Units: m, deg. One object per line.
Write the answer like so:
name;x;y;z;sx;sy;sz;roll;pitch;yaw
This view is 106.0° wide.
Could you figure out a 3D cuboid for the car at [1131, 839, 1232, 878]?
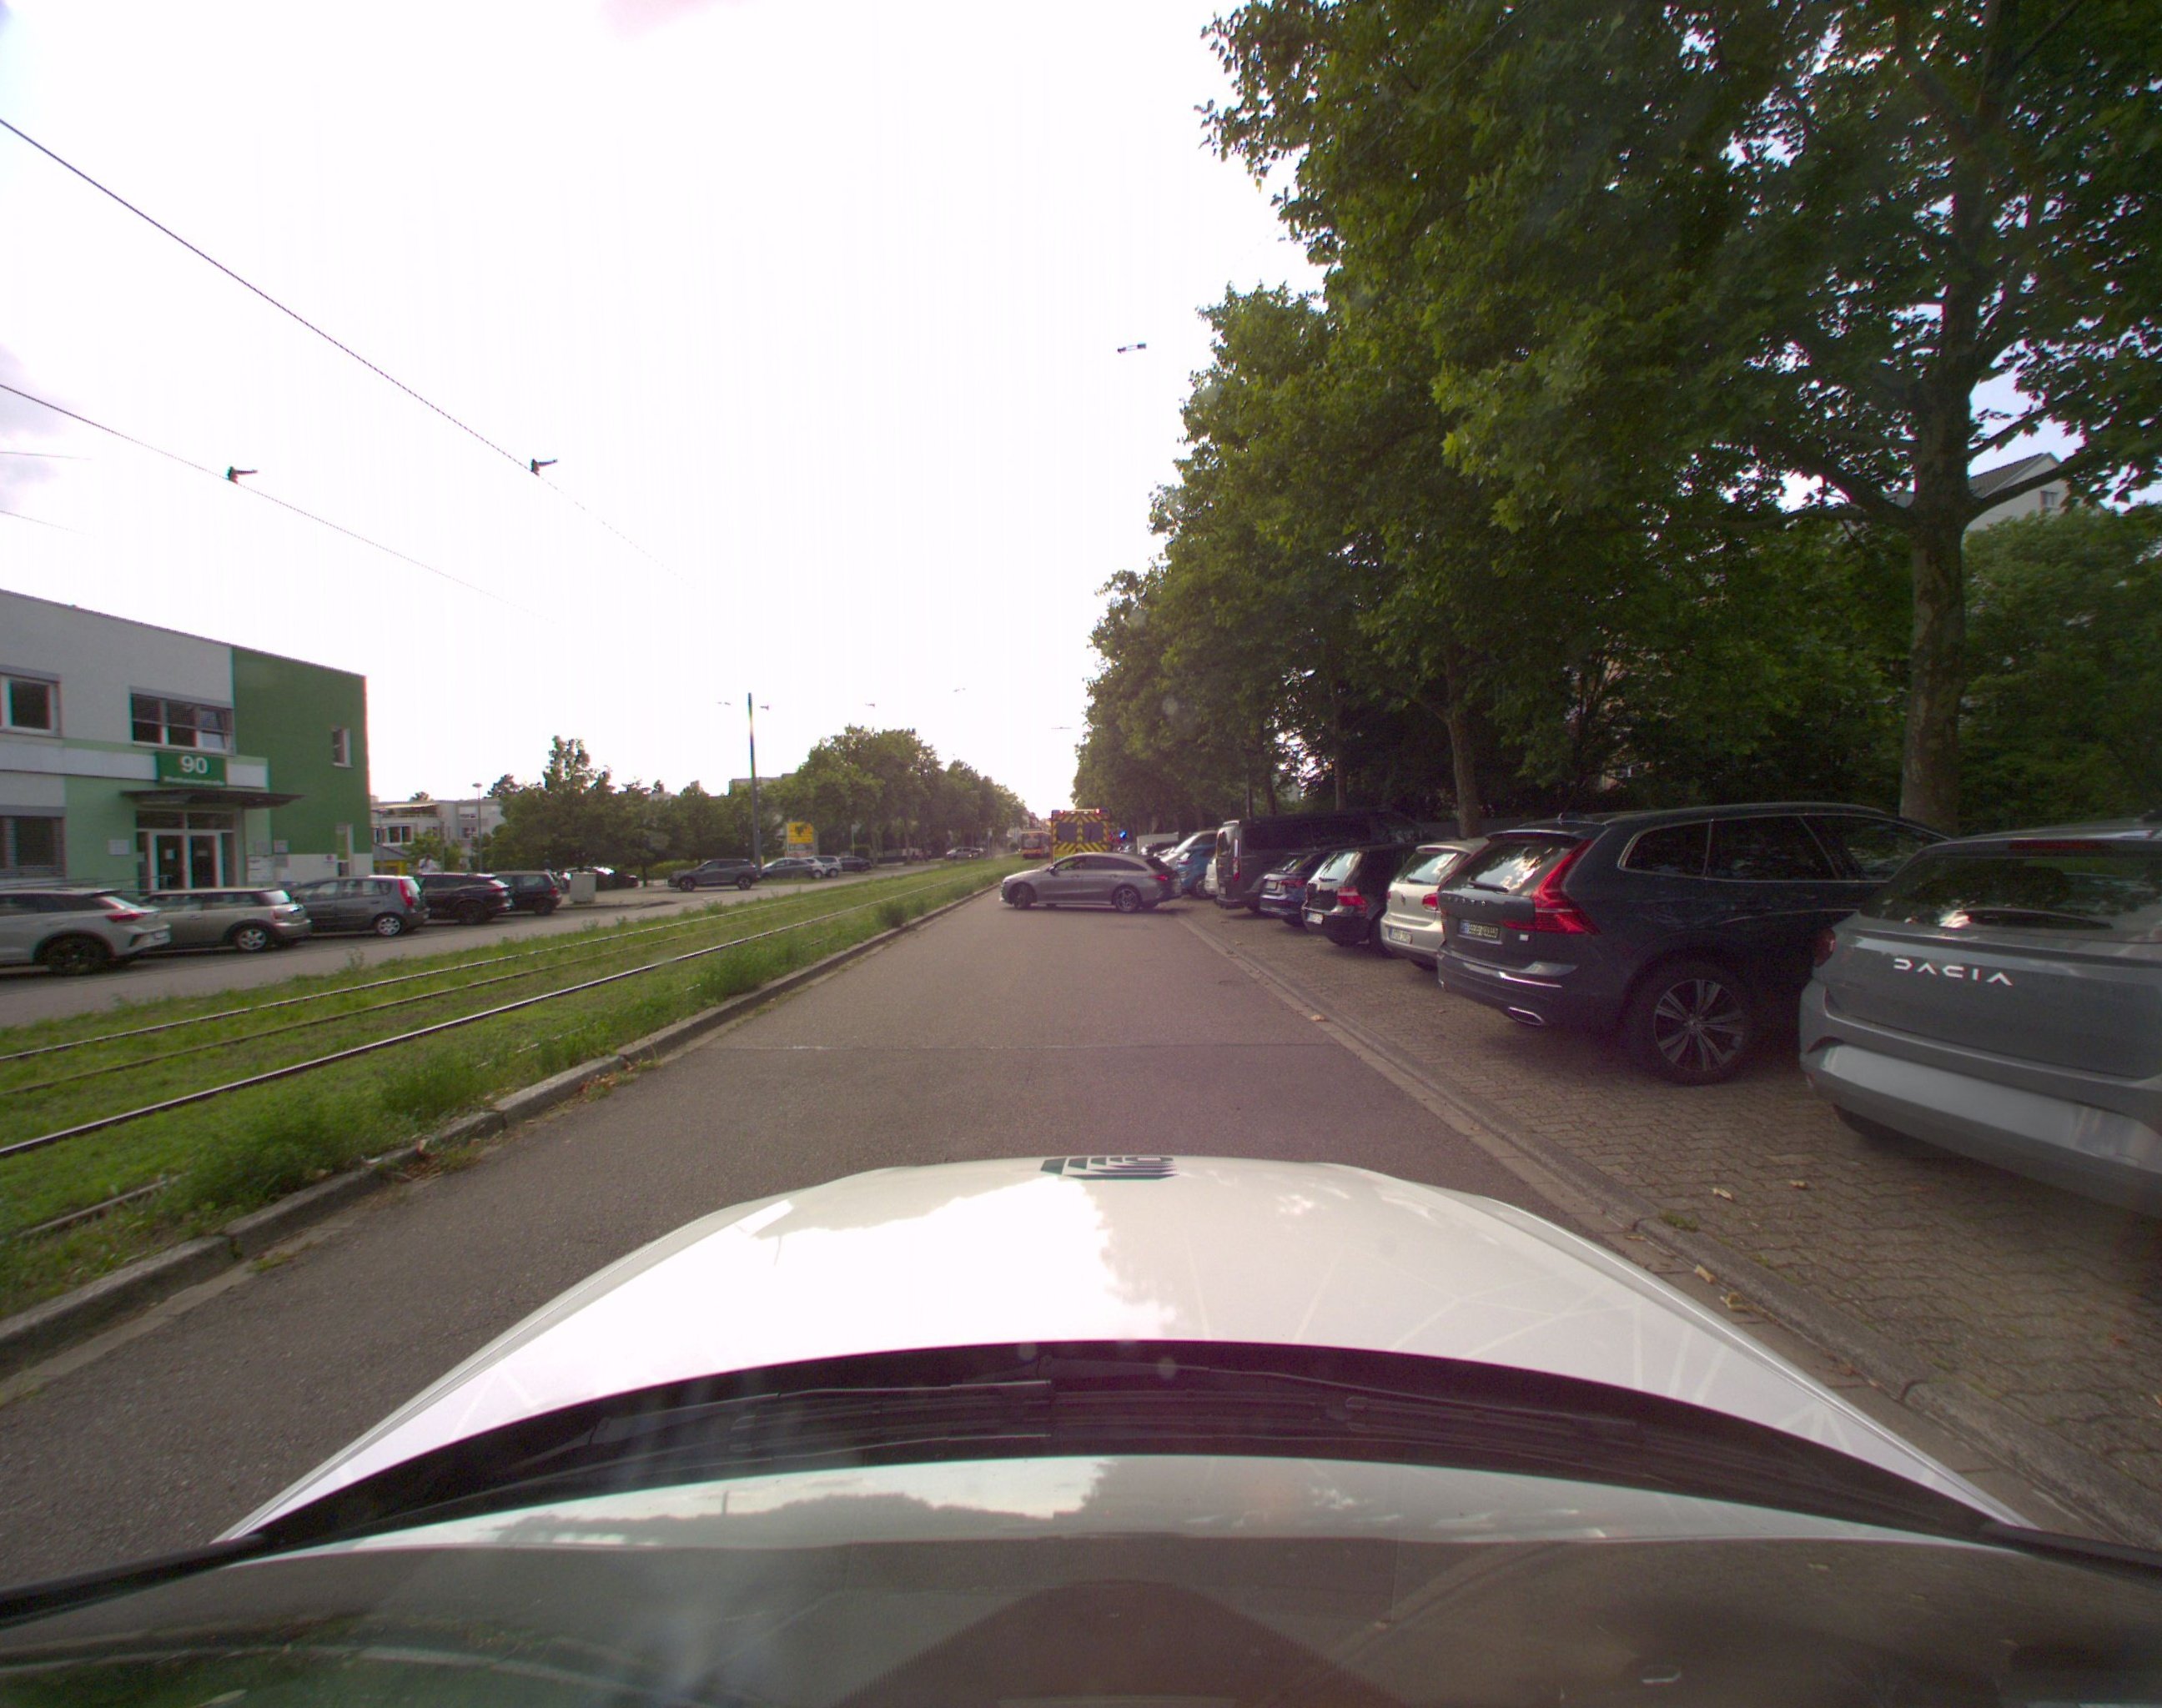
car;4.819;0.213;39.360;4.537;1.608;1.853;-3;0;-4

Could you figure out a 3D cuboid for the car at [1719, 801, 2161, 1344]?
car;5.215;0.507;2.949;4.364;1.501;1.757;-3;1;1

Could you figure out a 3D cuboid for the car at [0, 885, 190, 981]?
car;-19.142;1.439;14.361;4.252;1.482;1.863;-3;1;-34

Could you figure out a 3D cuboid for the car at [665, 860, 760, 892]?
car;-18.450;1.070;40.913;4.242;1.482;1.868;-1;0;-25

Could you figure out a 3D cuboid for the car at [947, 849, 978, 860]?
car;-18.874;0.108;129.710;4.651;1.633;1.861;-3;1;-39

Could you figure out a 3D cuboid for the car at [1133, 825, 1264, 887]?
car;4.356;0.071;30.729;4.537;2.043;1.853;-3;0;-4

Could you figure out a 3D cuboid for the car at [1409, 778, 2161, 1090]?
car;4.823;0.449;5.619;4.364;1.639;1.757;-3;0;1

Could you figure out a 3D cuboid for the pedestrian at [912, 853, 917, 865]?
pedestrian;-21.522;0.652;105.272;0.417;1.414;0.470;-2;0;25

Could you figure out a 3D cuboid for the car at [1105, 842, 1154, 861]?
car;4.658;-0.277;79.002;4.537;1.608;1.853;-3;0;-4

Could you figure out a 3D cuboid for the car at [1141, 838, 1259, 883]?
car;4.943;0.272;34.204;4.537;1.608;1.853;-3;0;-4

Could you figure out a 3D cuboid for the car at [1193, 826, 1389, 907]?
car;5.337;0.290;21.071;4.532;1.766;1.855;-3;0;-1

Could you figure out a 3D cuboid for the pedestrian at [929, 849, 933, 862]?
pedestrian;-22.186;0.236;120.154;0.465;1.828;0.422;-2;0;-2

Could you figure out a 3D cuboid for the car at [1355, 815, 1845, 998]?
car;5.139;0.475;8.462;3.954;1.494;1.755;-3;0;-1

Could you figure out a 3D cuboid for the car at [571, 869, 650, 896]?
car;-29.529;1.778;51.177;3.971;1.565;1.778;0;0;2

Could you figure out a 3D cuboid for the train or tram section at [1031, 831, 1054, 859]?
train or tram section;-5.229;-1.174;111.502;2.504;3.584;7.443;-3;0;0

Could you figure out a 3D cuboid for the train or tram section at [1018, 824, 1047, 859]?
train or tram section;-5.227;-1.298;89.185;2.504;3.584;7.443;-3;0;0

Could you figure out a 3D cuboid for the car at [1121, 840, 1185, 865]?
car;5.358;-0.122;60.921;4.537;1.608;1.853;-3;0;-4

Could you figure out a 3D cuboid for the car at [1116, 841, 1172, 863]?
car;5.467;-0.196;70.772;4.537;1.608;1.853;-3;0;-4

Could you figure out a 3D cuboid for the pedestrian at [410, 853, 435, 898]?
pedestrian;-27.504;0.882;34.028;0.544;1.828;0.508;-2;0;-2

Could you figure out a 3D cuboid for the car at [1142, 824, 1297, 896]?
car;4.384;0.167;26.135;4.537;2.000;1.853;-3;0;-4

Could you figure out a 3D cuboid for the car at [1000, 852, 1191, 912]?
car;0.364;0.643;20.344;4.414;1.385;1.776;0;0;22

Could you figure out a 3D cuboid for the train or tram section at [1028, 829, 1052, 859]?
train or tram section;-5.236;-1.215;104.060;2.504;3.584;7.443;-3;0;0

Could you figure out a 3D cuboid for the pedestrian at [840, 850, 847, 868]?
pedestrian;-23.575;0.497;81.003;0.465;1.676;0.603;-2;0;-2

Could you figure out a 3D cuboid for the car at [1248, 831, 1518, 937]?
car;5.056;0.477;14.018;3.954;1.494;1.755;-3;0;-1

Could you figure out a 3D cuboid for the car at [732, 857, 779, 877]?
car;-29.813;1.182;74.481;3.949;1.750;2.013;0;1;31

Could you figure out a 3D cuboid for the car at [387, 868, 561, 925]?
car;-19.471;1.319;26.396;4.247;1.482;1.866;-3;1;-29

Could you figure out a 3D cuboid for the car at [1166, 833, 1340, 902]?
car;4.904;0.360;23.602;4.538;1.660;1.853;-3;0;-5

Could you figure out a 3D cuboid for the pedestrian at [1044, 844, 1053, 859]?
pedestrian;-3.390;-0.241;85.017;0.878;1.525;0.751;0;-1;-1

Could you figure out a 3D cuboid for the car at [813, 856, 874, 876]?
car;-18.999;0.940;65.179;4.257;1.482;1.861;-1;0;-40

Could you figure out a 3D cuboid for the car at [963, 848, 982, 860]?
car;-15.215;0.017;114.392;1.988;1.557;4.368;-3;1;-1

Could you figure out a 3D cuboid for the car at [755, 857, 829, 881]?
car;-19.146;0.956;53.954;4.254;1.482;1.863;-1;0;-36

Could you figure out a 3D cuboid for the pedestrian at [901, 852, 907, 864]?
pedestrian;-24.098;0.525;110.900;0.631;1.551;0.621;-2;0;-3

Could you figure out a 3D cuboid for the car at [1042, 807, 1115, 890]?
car;0.003;-0.222;32.730;2.631;2.966;6.302;1;0;2

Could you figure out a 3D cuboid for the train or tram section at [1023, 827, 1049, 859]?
train or tram section;-5.236;-1.257;96.616;2.504;3.584;7.443;-3;0;0

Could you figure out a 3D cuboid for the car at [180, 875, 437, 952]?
car;-19.014;1.409;20.352;4.247;1.482;1.866;-3;1;-29

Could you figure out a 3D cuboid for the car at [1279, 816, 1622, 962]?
car;4.976;0.415;11.186;3.967;1.605;1.750;-3;0;-11

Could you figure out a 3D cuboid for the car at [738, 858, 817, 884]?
car;-19.000;1.019;51.047;4.254;1.482;1.863;-1;0;-36

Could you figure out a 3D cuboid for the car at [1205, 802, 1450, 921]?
car;5.055;0.142;17.155;4.532;2.123;1.855;-3;0;-1

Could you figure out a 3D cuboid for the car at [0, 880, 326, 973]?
car;-19.234;1.441;17.339;4.247;1.482;1.866;-3;1;-29

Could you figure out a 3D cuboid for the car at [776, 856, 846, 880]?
car;-18.879;0.961;56.975;4.254;1.482;1.863;-1;0;-36

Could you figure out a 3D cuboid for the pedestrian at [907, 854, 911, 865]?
pedestrian;-21.804;0.686;103.393;0.420;1.473;0.467;-2;0;-5

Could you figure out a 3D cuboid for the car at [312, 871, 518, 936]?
car;-18.921;1.359;23.430;4.247;1.482;1.866;-3;1;-29
